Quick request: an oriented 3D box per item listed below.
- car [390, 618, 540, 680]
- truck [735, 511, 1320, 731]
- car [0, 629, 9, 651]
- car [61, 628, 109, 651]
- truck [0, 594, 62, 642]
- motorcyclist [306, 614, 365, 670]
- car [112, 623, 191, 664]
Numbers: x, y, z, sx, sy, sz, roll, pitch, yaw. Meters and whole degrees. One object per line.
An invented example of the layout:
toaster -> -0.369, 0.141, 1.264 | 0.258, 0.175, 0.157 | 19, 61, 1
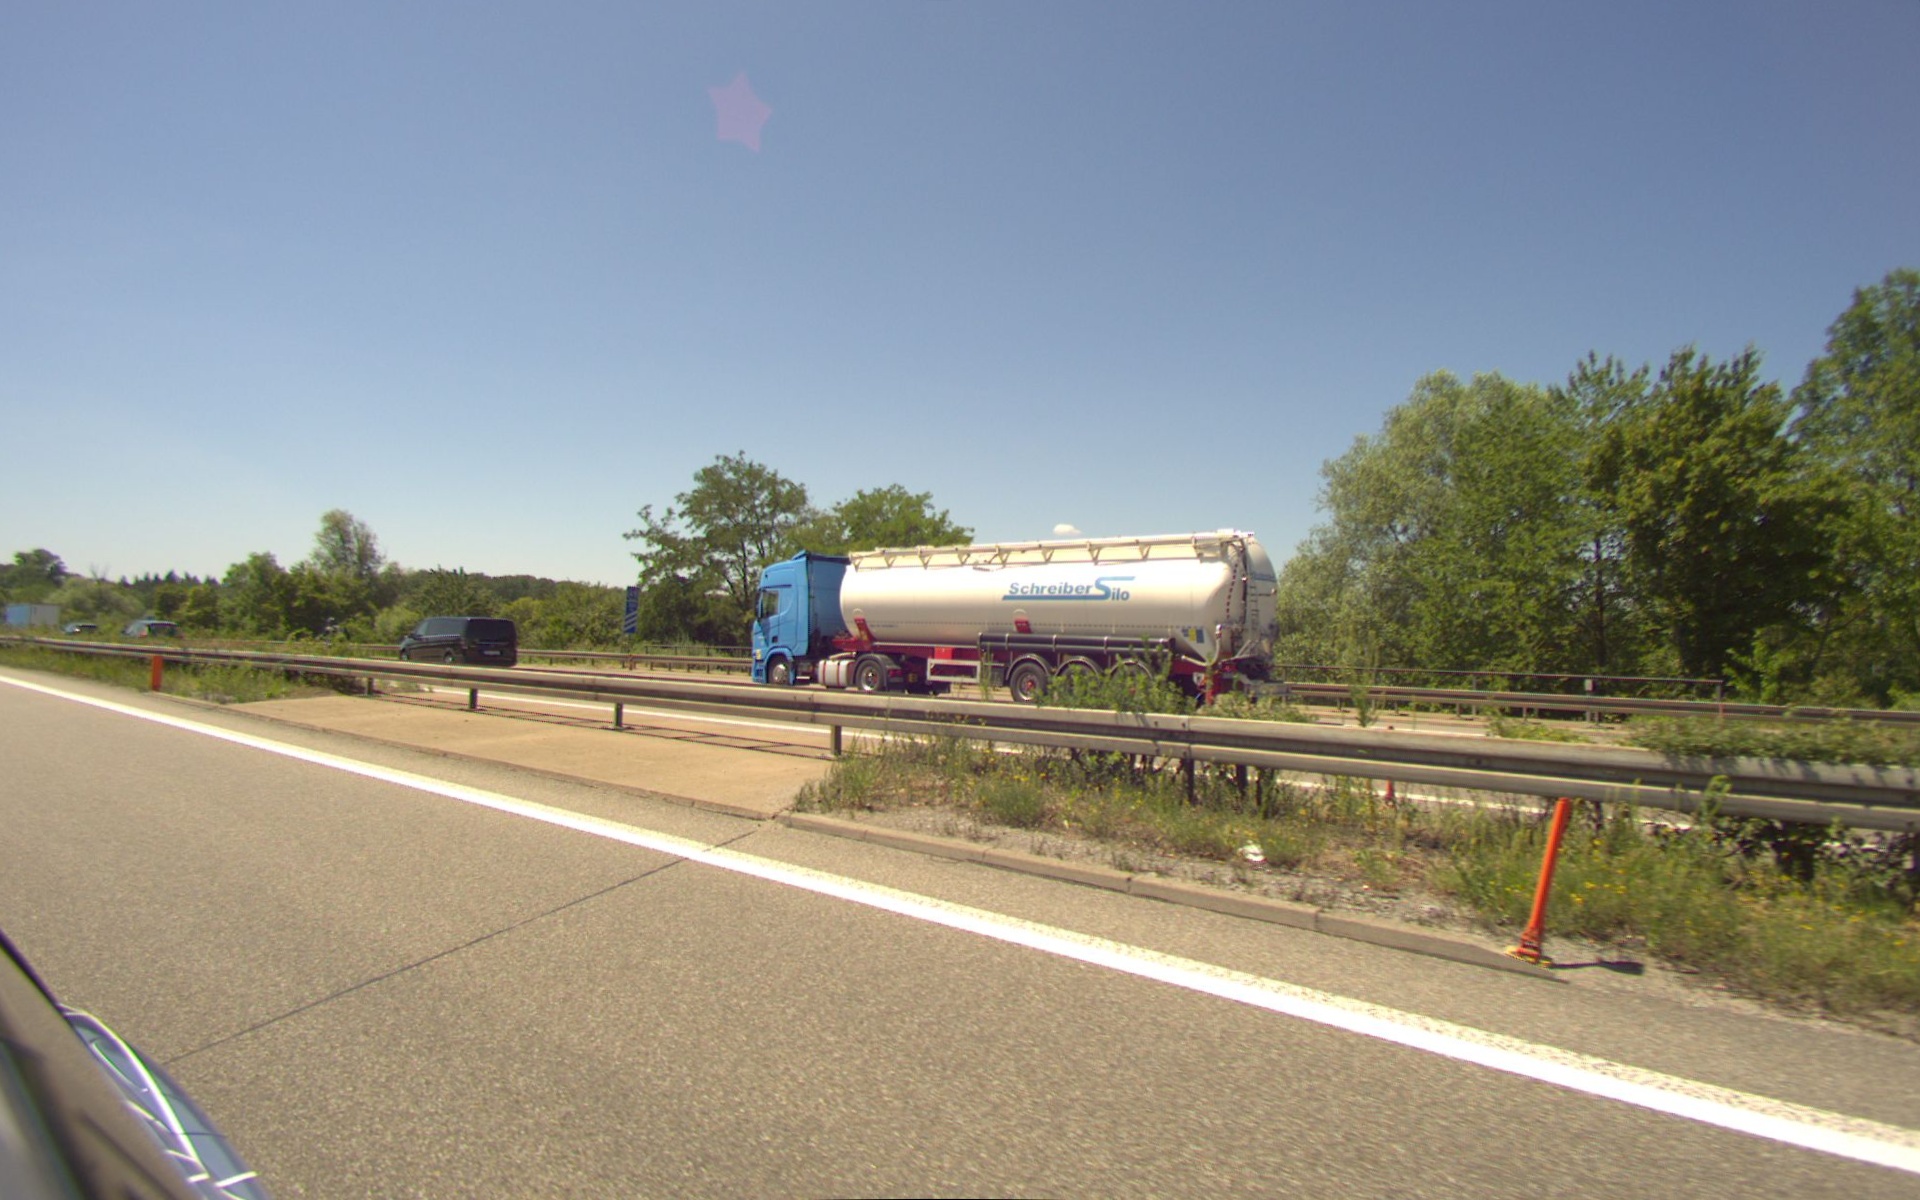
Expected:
car -> -16.722, 1.620, 34.046 | 5.778, 1.932, 2.388 | -1, -3, 40
truck -> 0.497, 0.495, 24.986 | 15.924, 4.084, 2.701 | -1, -2, 40
car -> -78.394, 3.217, 81.564 | 4.089, 1.744, 1.973 | -1, -3, 40
car -> -64.448, 2.868, 74.508 | 3.996, 1.630, 1.974 | -1, -3, 39
truck -> -102.018, 2.029, 110.380 | 16.842, 4.756, 3.193 | -1, -5, 39
motorcyclist -> -17.811, 1.192, 28.856 | 1.333, 1.532, 0.962 | -1, -4, 39
car -> -36.215, 1.951, 45.312 | 4.089, 1.744, 1.973 | -1, -3, 40
